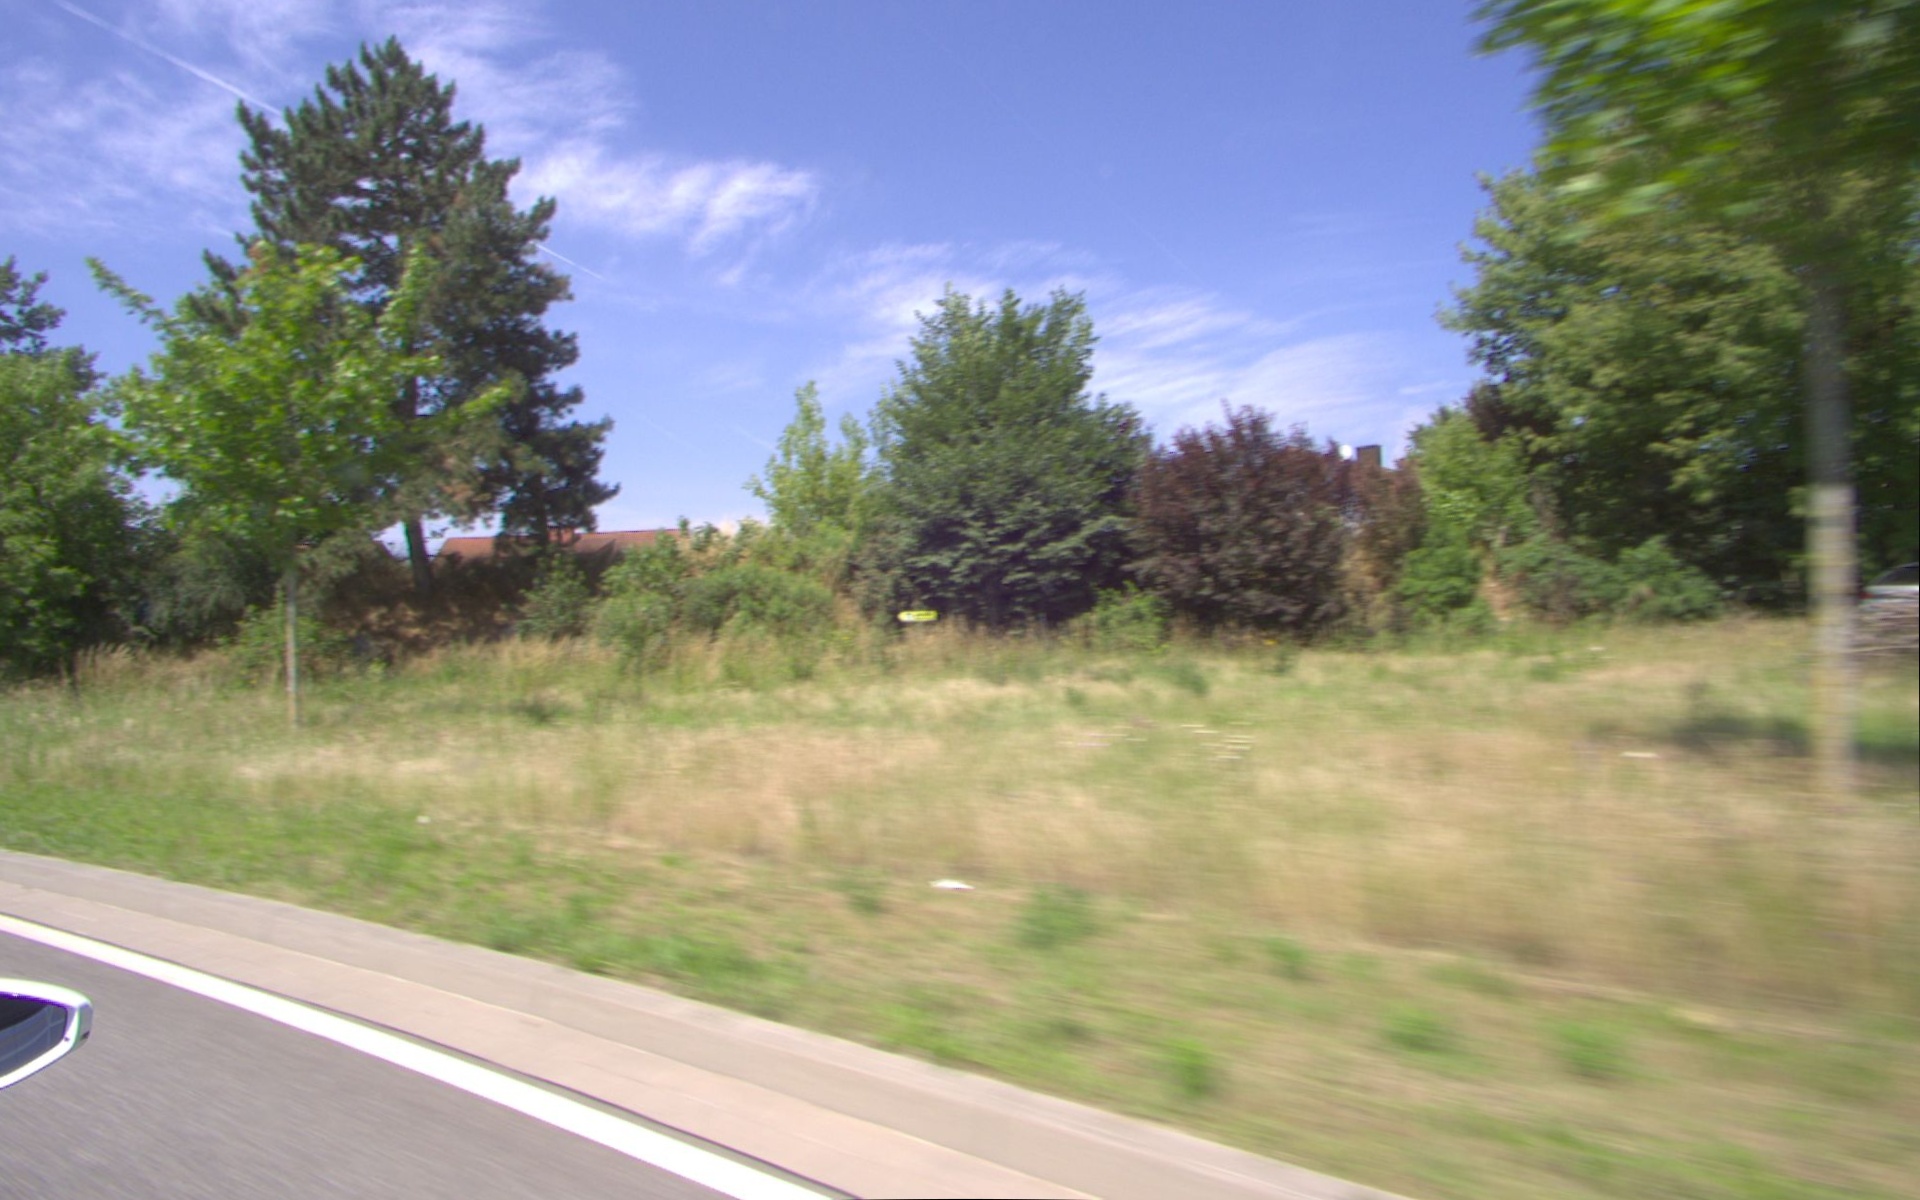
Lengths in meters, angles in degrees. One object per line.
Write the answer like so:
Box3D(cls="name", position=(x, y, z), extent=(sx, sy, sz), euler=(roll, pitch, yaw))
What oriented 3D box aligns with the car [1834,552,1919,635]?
Box3D(cls="car", position=(18.671, -0.122, 18.323), extent=(3.889, 1.461, 1.774), euler=(-1, -1, -3))
